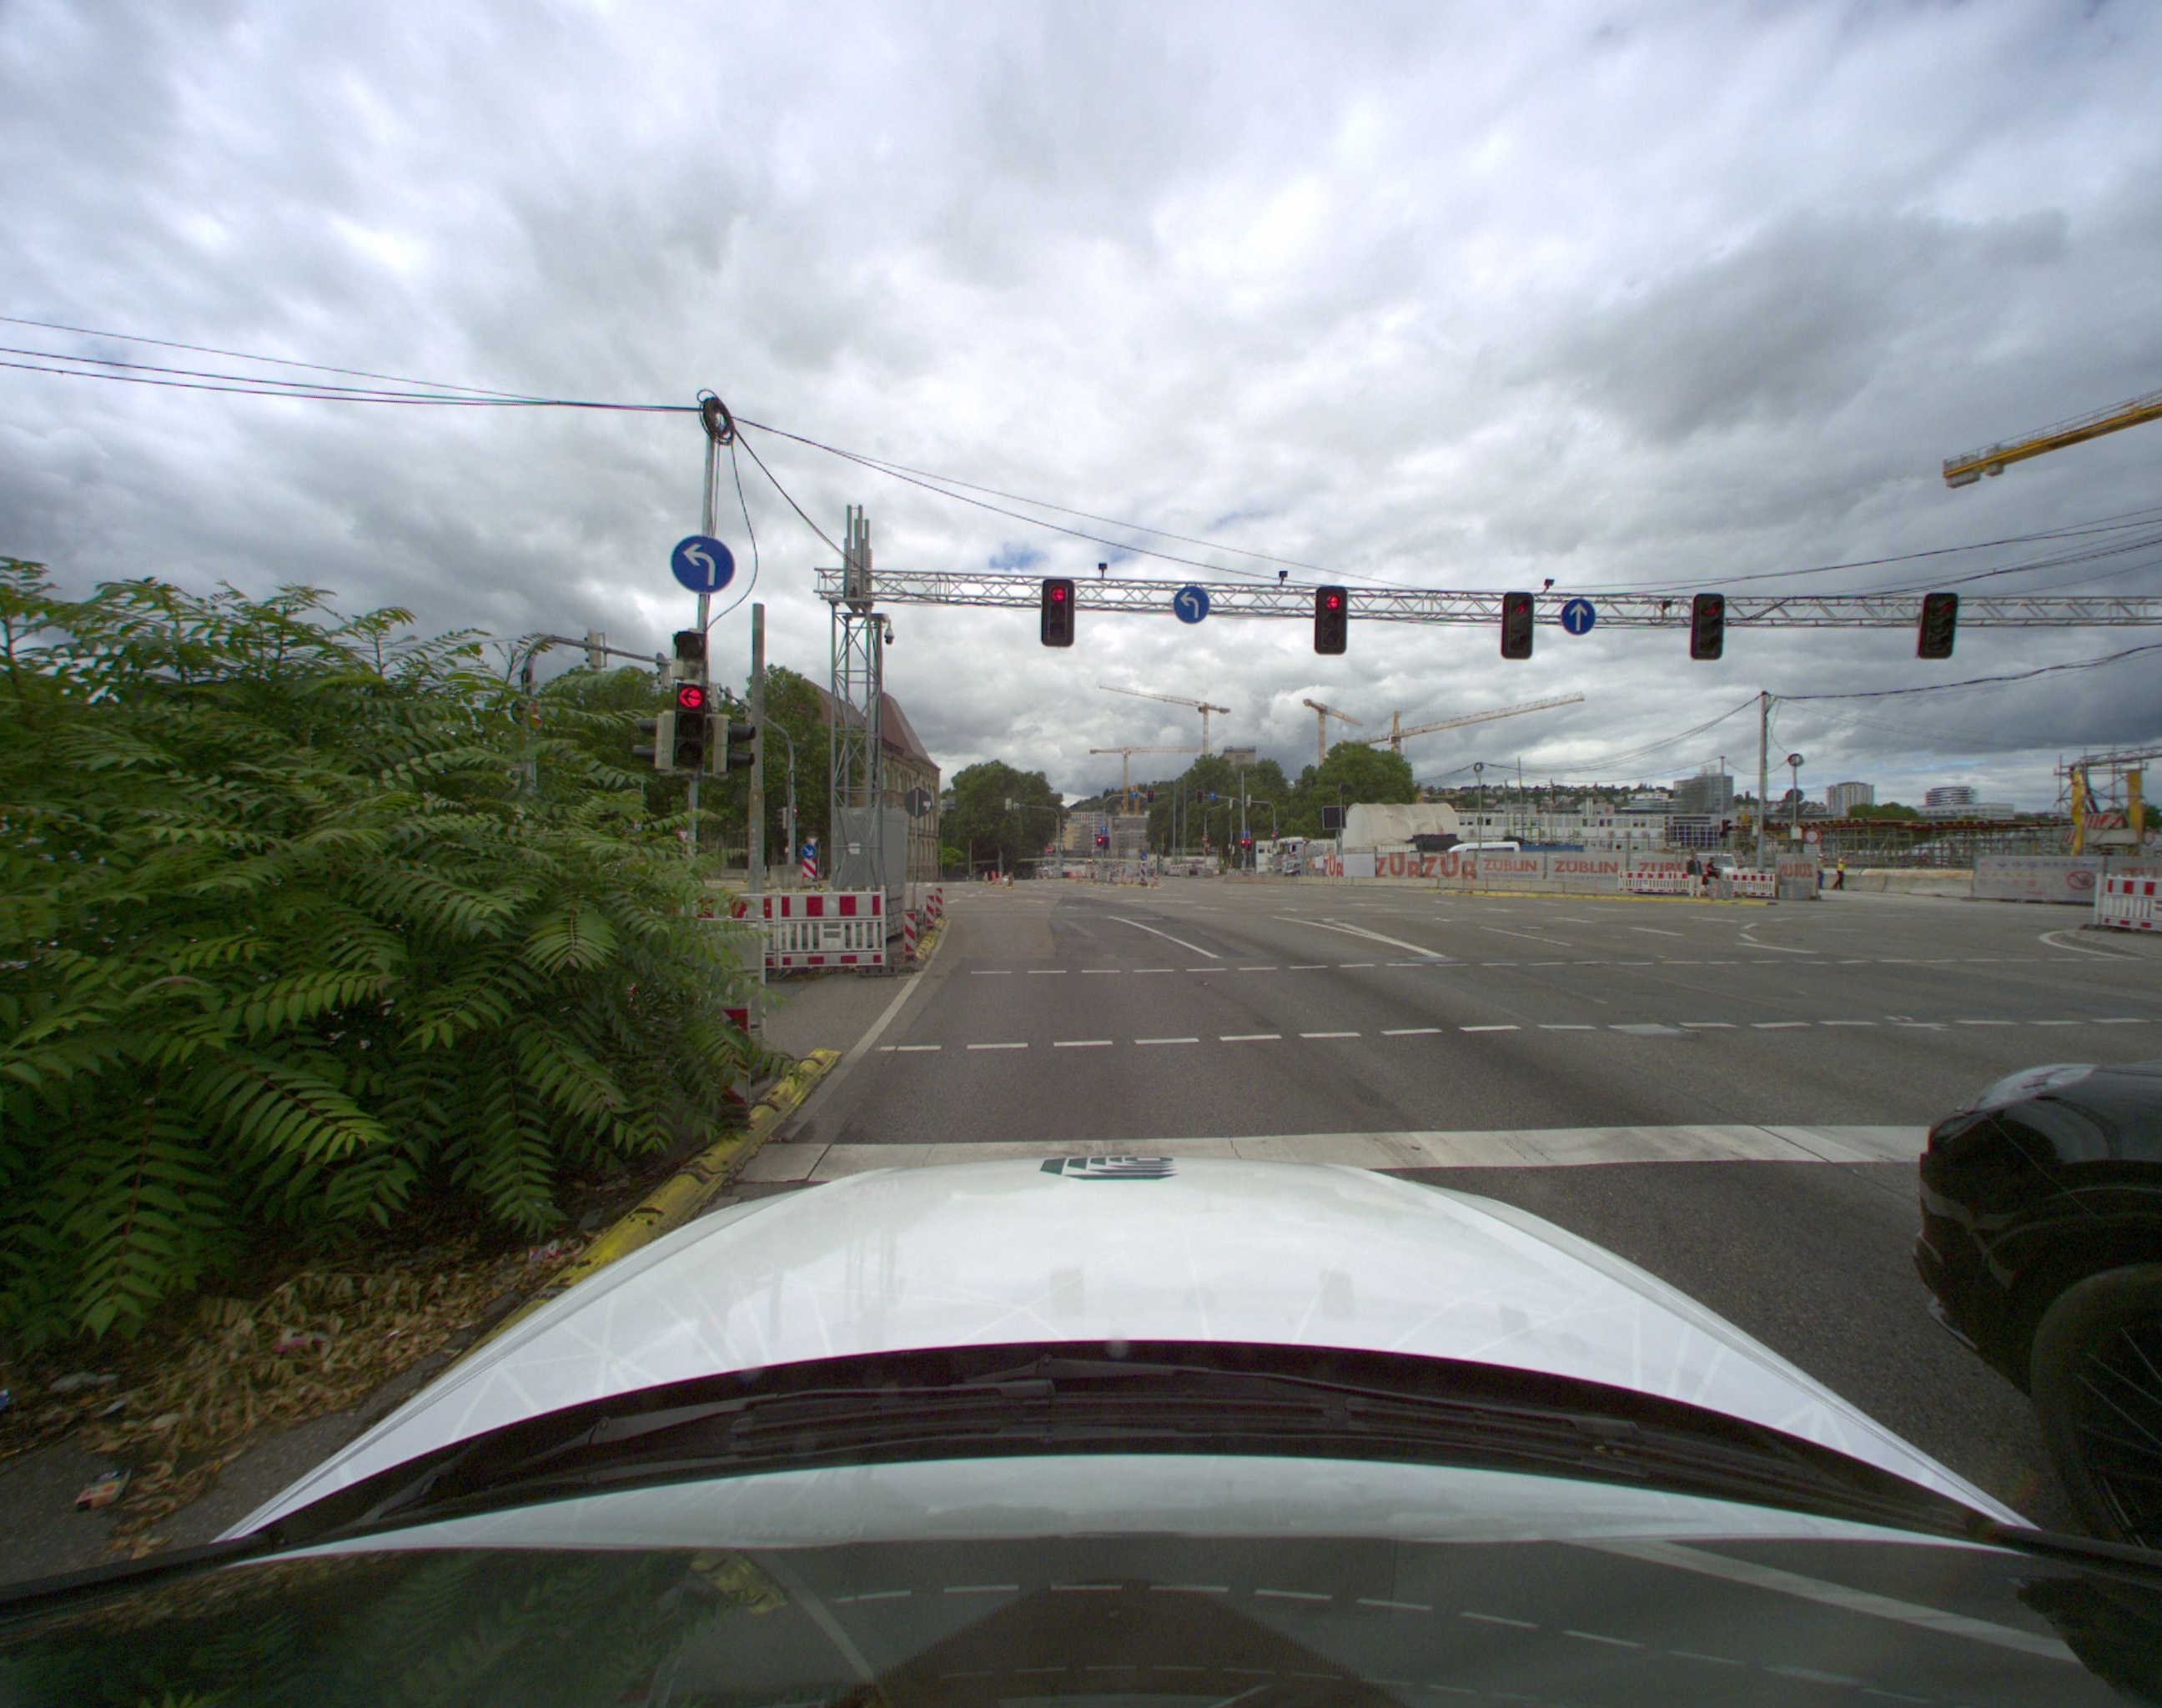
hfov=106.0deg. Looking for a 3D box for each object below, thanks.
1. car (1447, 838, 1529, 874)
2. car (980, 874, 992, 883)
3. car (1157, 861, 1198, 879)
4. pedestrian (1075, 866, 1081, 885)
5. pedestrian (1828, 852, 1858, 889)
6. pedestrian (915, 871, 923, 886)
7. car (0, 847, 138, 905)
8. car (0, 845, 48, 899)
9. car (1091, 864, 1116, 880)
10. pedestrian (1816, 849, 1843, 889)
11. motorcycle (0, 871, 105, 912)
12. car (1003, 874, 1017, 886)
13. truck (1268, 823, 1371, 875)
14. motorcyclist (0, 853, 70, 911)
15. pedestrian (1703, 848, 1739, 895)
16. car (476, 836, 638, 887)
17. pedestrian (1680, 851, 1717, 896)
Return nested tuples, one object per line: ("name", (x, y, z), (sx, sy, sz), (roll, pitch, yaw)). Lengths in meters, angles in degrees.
("car", (23.463, 0.123, 47.106), (3.955, 2.014, 2.009), (-1, -1, 17))
("car", (-19.899, 5.125, 170.765), (1.987, 1.838, 3.998), (0, -1, -1))
("car", (11.026, 1.800, 92.890), (4.223, 2.014, 2.012), (-1, -1, 28))
("pedestrian", (-0.291, 2.118, 81.352), (0.583, 1.840, 0.604), (0, -1, -2))
("pedestrian", (39.097, 0.841, 41.802), (0.677, 1.916, 0.865), (0, -1, -4))
("pedestrian", (-21.973, 3.373, 110.338), (0.946, 2.014, 0.767), (0, -1, 3))
("car", (-29.778, 0.607, 22.889), (4.095, 1.547, 1.999), (0, -1, -2))
("car", (-32.876, 0.523, 23.246), (4.094, 1.547, 1.999), (0, -1, -1))
("car", (2.982, 2.409, 109.897), (2.001, 2.014, 3.972), (0, -1, -21))
("pedestrian", (38.283, 0.748, 41.664), (0.673, 2.014, 0.869), (-1, -1, 14))
("motorcycle", (-25.402, 0.907, 19.839), (2.342, 0.941, 0.697), (-1, -1, -2))
("car", (-11.440, 4.230, 132.062), (1.987, 1.838, 3.998), (0, -1, -1))
("truck", (23.604, -0.522, 80.623), (9.735, 4.961, 3.097), (0, -1, -16))
("motorcyclist", (-25.471, 0.672, 19.837), (0.786, 1.380, 0.697), (0, -1, -2))
("pedestrian", (27.805, 0.746, 35.382), (1.052, 2.014, 1.022), (0, -1, -40))
("car", (-18.916, 0.260, 29.626), (4.494, 1.759, 1.991), (0, -1, -13))
("pedestrian", (25.807, 0.814, 34.052), (1.035, 1.848, 0.794), (-1, -1, 17))
